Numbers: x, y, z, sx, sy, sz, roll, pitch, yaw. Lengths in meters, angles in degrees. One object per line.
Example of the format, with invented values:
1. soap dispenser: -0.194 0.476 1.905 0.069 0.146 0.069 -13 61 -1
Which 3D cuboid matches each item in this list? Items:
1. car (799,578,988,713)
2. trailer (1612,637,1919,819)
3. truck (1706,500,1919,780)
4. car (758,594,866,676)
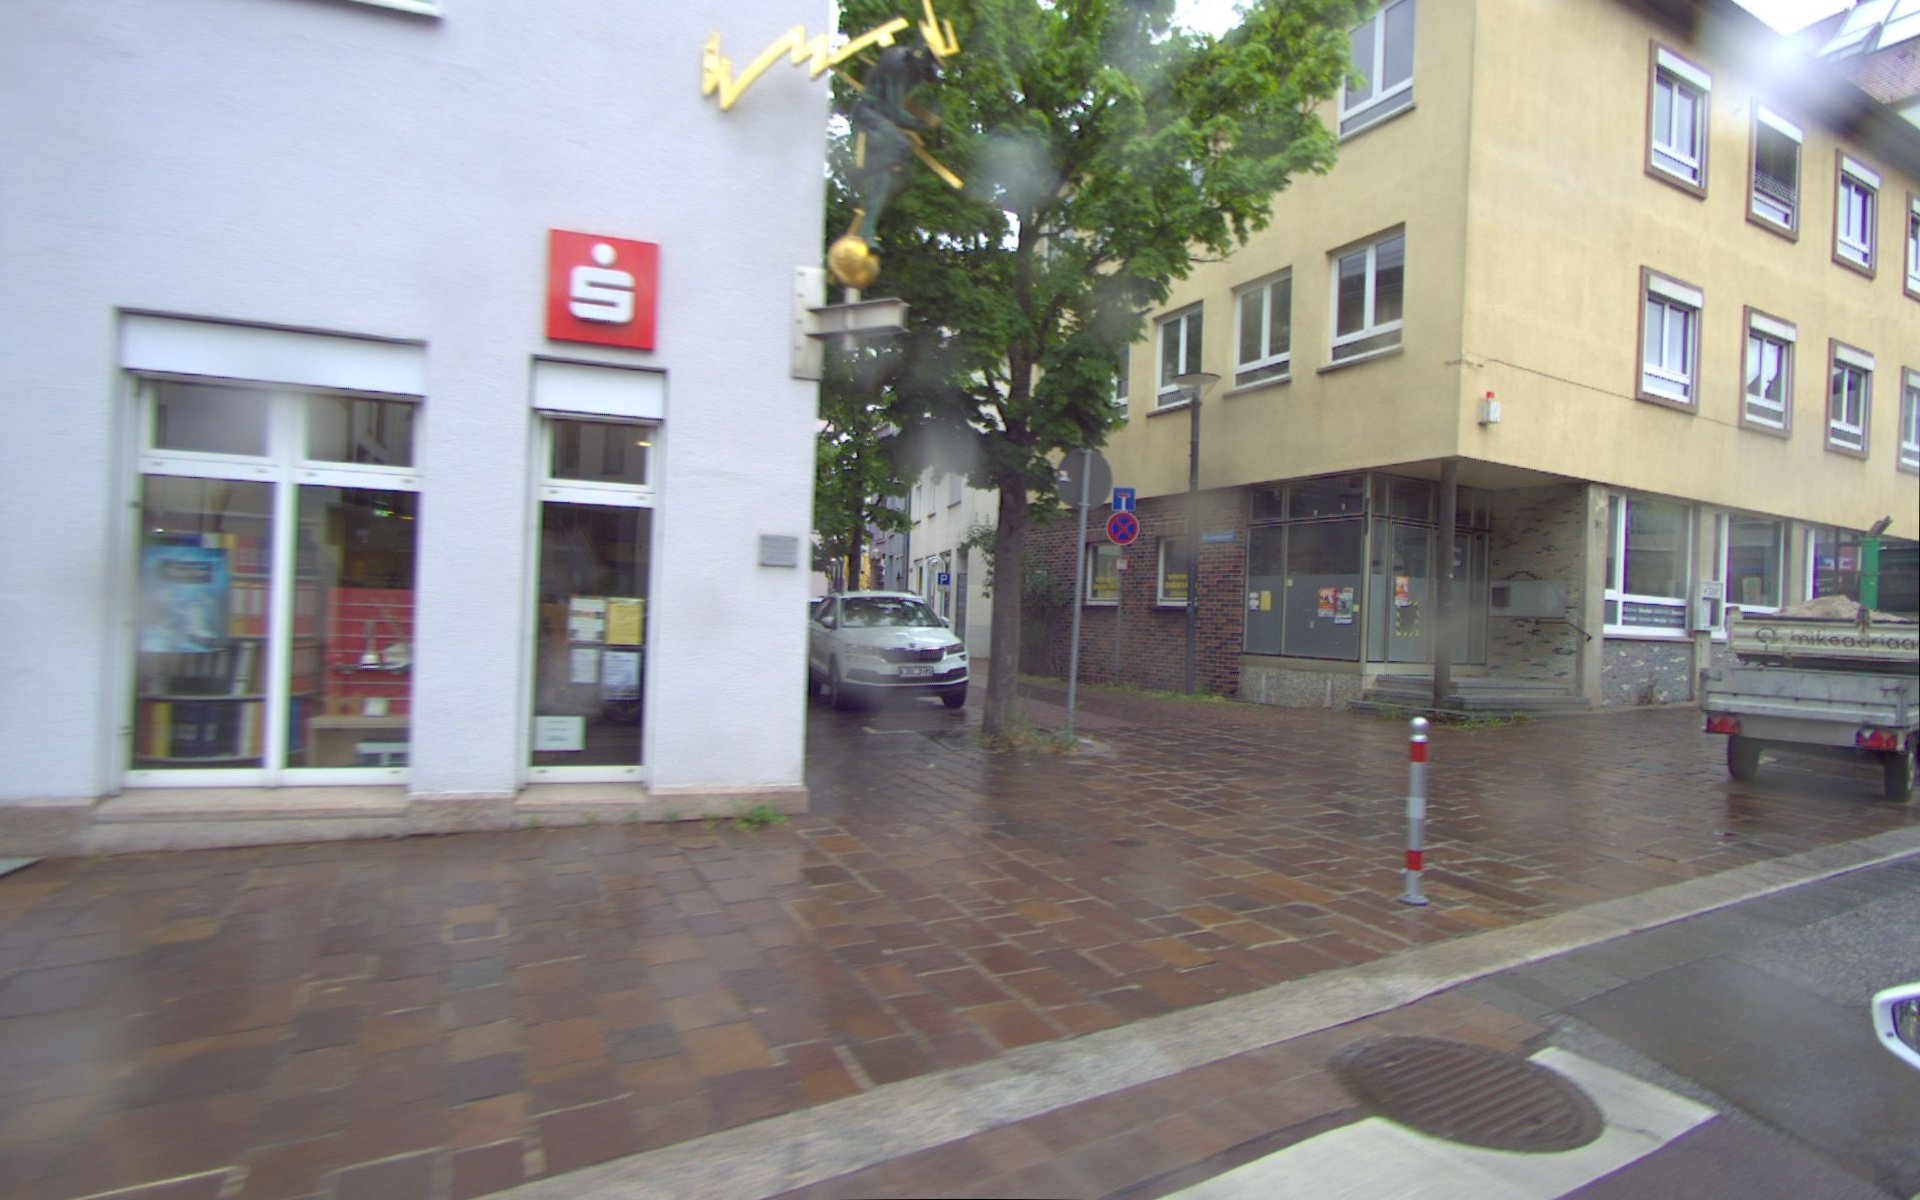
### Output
1. car: -1.114 0.616 14.459 1.826 1.639 4.107 1 -1 -17
2. trailer: 7.477 1.001 9.006 2.991 1.140 1.839 -1 1 -37
3. truck: 11.340 0.319 11.657 6.416 2.630 2.384 -1 1 -35
4. car: -3.410 0.758 22.511 1.790 1.639 4.267 1 -1 -17
